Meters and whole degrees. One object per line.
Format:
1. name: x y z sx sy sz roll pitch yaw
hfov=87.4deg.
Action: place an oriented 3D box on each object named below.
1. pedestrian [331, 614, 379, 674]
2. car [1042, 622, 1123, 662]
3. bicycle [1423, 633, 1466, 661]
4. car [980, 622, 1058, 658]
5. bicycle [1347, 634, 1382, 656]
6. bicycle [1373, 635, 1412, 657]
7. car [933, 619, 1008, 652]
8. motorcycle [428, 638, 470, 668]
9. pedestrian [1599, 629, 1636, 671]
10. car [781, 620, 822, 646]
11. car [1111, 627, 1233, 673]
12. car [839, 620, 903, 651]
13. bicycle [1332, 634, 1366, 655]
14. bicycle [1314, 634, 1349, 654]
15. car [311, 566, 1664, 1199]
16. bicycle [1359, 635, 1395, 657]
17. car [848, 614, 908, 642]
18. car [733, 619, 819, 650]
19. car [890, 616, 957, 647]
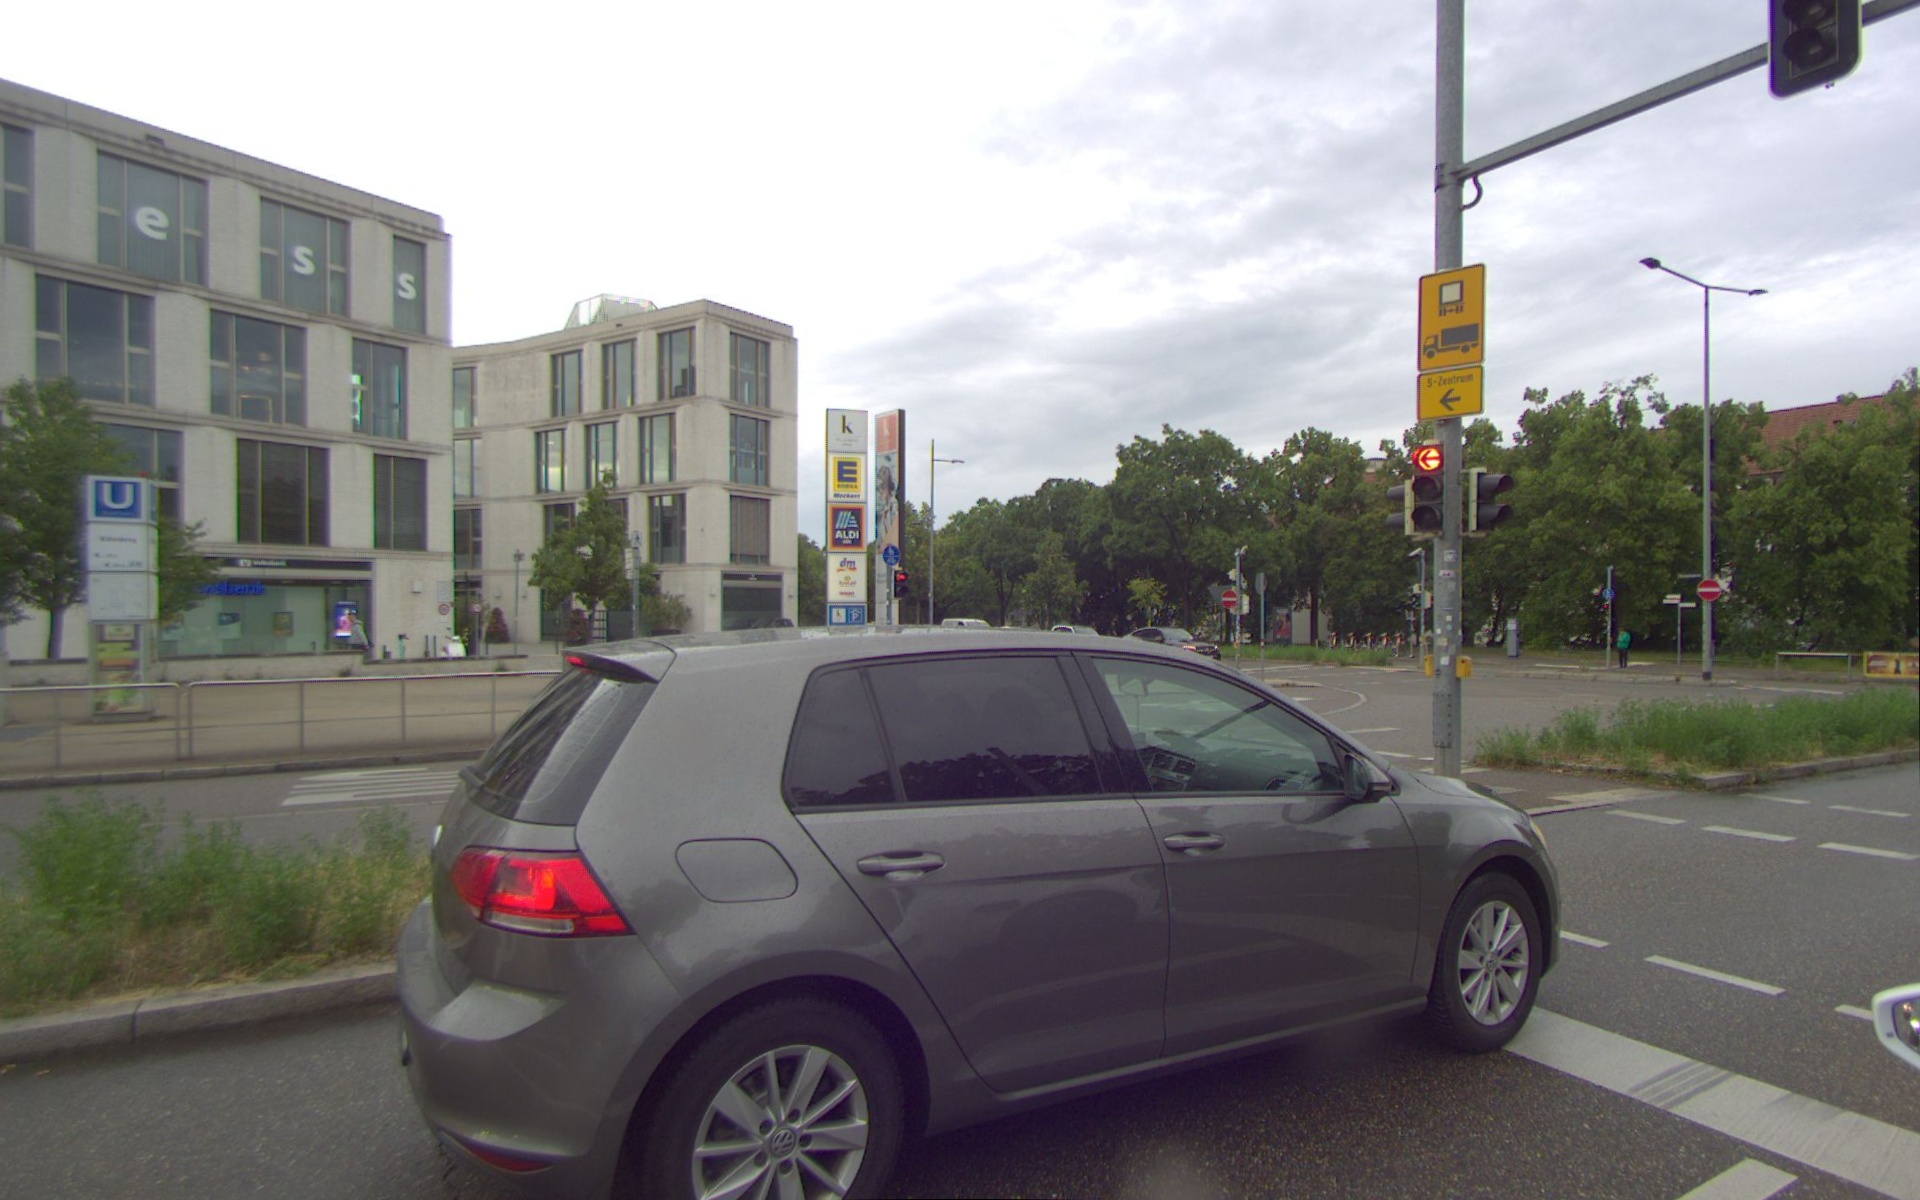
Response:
1. pedestrian: -16.983 1.224 28.195 0.752 1.626 0.911 0 -1 37
2. car: 5.559 1.904 46.031 1.976 1.615 3.536 2 0 -30
3. bicycle: 23.760 2.305 49.267 1.959 1.266 0.986 2 0 -30
4. car: 2.952 1.990 50.900 1.976 1.615 4.185 2 0 -29
5. bicycle: 21.373 2.373 53.039 1.959 1.085 0.649 2 0 -30
6. bicycle: 22.245 2.356 51.655 1.959 1.085 0.798 2 0 -30
7. car: 0.533 1.939 55.409 1.976 1.615 4.855 2 0 -29
8. motorcycle: -14.213 1.463 27.947 1.081 0.750 0.522 2 0 29
9. pedestrian: 27.931 2.119 42.666 0.933 1.750 0.919 2 0 -26
10. car: -12.762 2.656 80.713 1.976 2.040 3.969 1 -1 -29
11. car: 8.397 1.962 40.245 1.976 1.520 5.001 2 0 -29
12. car: -5.328 2.105 59.701 1.976 1.615 4.855 2 0 -29
13. bicycle: 20.940 2.383 54.040 1.959 1.085 0.649 2 0 -30
14. bicycle: 20.269 2.397 54.769 1.959 1.085 0.649 2 0 -30
15. car: 0.366 0.755 3.555 4.323 1.501 1.808 2 -1 -29
16. bicycle: 21.674 2.390 52.179 1.959 1.085 0.649 2 0 -30
17. car: -5.457 1.809 66.116 1.977 1.615 4.852 2 0 -31
18. car: -9.185 1.711 50.321 1.968 1.483 3.985 0 -2 37
19. car: -2.255 1.879 60.397 1.976 1.615 4.855 2 0 -29
